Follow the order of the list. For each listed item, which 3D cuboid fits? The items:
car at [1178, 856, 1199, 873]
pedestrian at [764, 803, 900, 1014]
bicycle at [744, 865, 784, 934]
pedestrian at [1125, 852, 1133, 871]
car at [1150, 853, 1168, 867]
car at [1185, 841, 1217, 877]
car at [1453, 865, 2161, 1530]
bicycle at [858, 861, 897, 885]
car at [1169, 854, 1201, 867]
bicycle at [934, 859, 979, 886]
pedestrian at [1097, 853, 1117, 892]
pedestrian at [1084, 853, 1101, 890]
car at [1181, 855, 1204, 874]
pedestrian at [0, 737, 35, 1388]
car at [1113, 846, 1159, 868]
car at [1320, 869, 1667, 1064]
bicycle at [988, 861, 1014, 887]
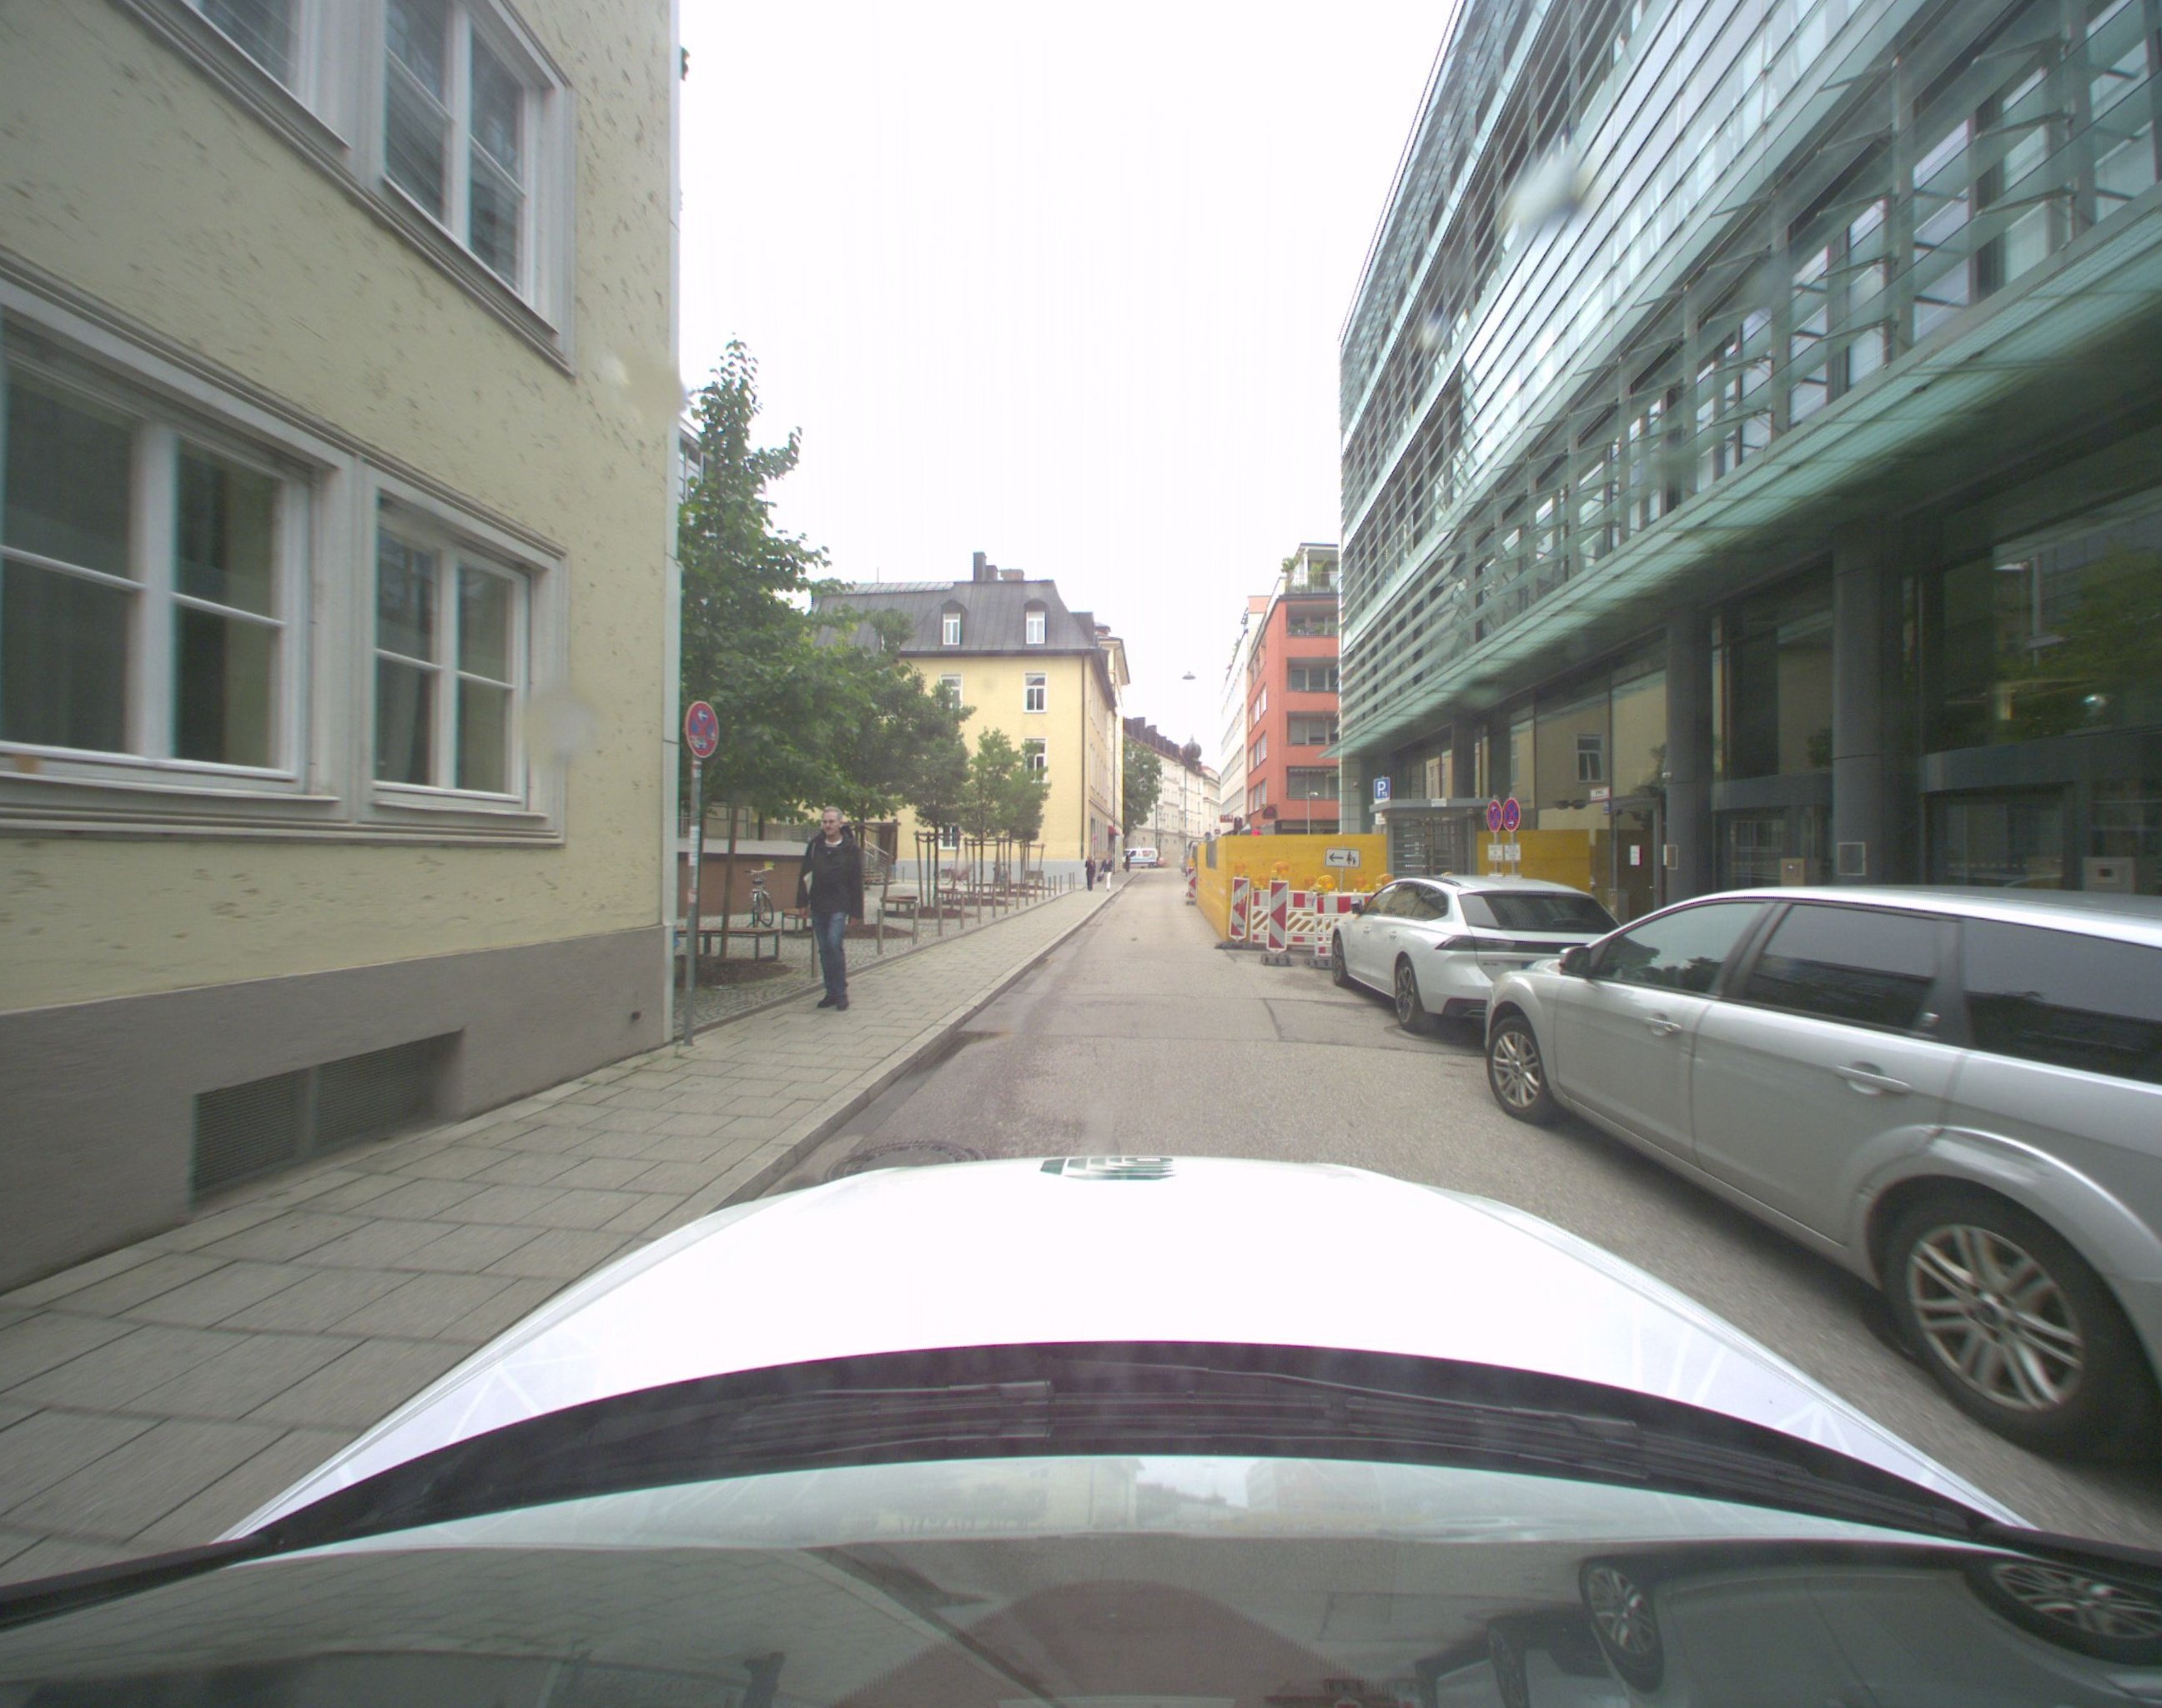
[{"bbox_3d":[10.419,1.000,78.882,1.803,1.563,4.280,1,0,5],"label":"car"},{"bbox_3d":[-2.368,0.488,7.898,0.864,1.881,1.136,1,-1,4],"label":"pedestrian"},{"bbox_3d":[-5.997,0.822,15.454,0.551,1.198,1.827,1,0,-17],"label":"bicycle"},{"bbox_3d":[4.312,0.658,73.078,0.631,1.675,0.518,1,0,5],"label":"pedestrian"},{"bbox_3d":[9.679,0.746,100.368,1.680,1.574,4.014,1,0,12],"label":"car"},{"bbox_3d":[8.866,0.390,60.557,1.984,2.536,4.981,1,0,5],"label":"car"},{"bbox_3d":[3.346,0.820,3.455,1.701,1.467,4.239,2,-1,2],"label":"car"},{"bbox_3d":[-9.645,0.890,38.578,1.646,1.069,0.599,1,0,9],"label":"bicycle"},{"bbox_3d":[12.791,0.770,99.987,4.023,1.574,1.676,1,0,-44],"label":"car"},{"bbox_3d":[-5.902,0.859,38.548,2.030,1.198,0.572,1,0,12],"label":"bicycle"},{"bbox_3d":[1.185,0.825,36.881,0.835,1.700,0.804,1,-1,5],"label":"pedestrian"},{"bbox_3d":[0.519,0.798,36.996,0.667,1.648,0.762,1,-1,4],"label":"pedestrian"},{"bbox_3d":[10.114,0.950,74.226,1.779,1.625,4.278,1,0,5],"label":"car"},{"bbox_3d":[-3.117,0.530,1.790,0.644,1.676,0.724,1,-1,4],"label":"pedestrian"},{"bbox_3d":[6.284,0.370,92.810,5.004,2.398,1.983,1,0,-27],"label":"car"},{"bbox_3d":[3.857,0.904,8.586,1.700,1.414,4.515,2,-1,5],"label":"car"},{"bbox_3d":[-3.583,0.876,36.513,0.506,1.144,2.059,1,0,13],"label":"bicycle"}]
